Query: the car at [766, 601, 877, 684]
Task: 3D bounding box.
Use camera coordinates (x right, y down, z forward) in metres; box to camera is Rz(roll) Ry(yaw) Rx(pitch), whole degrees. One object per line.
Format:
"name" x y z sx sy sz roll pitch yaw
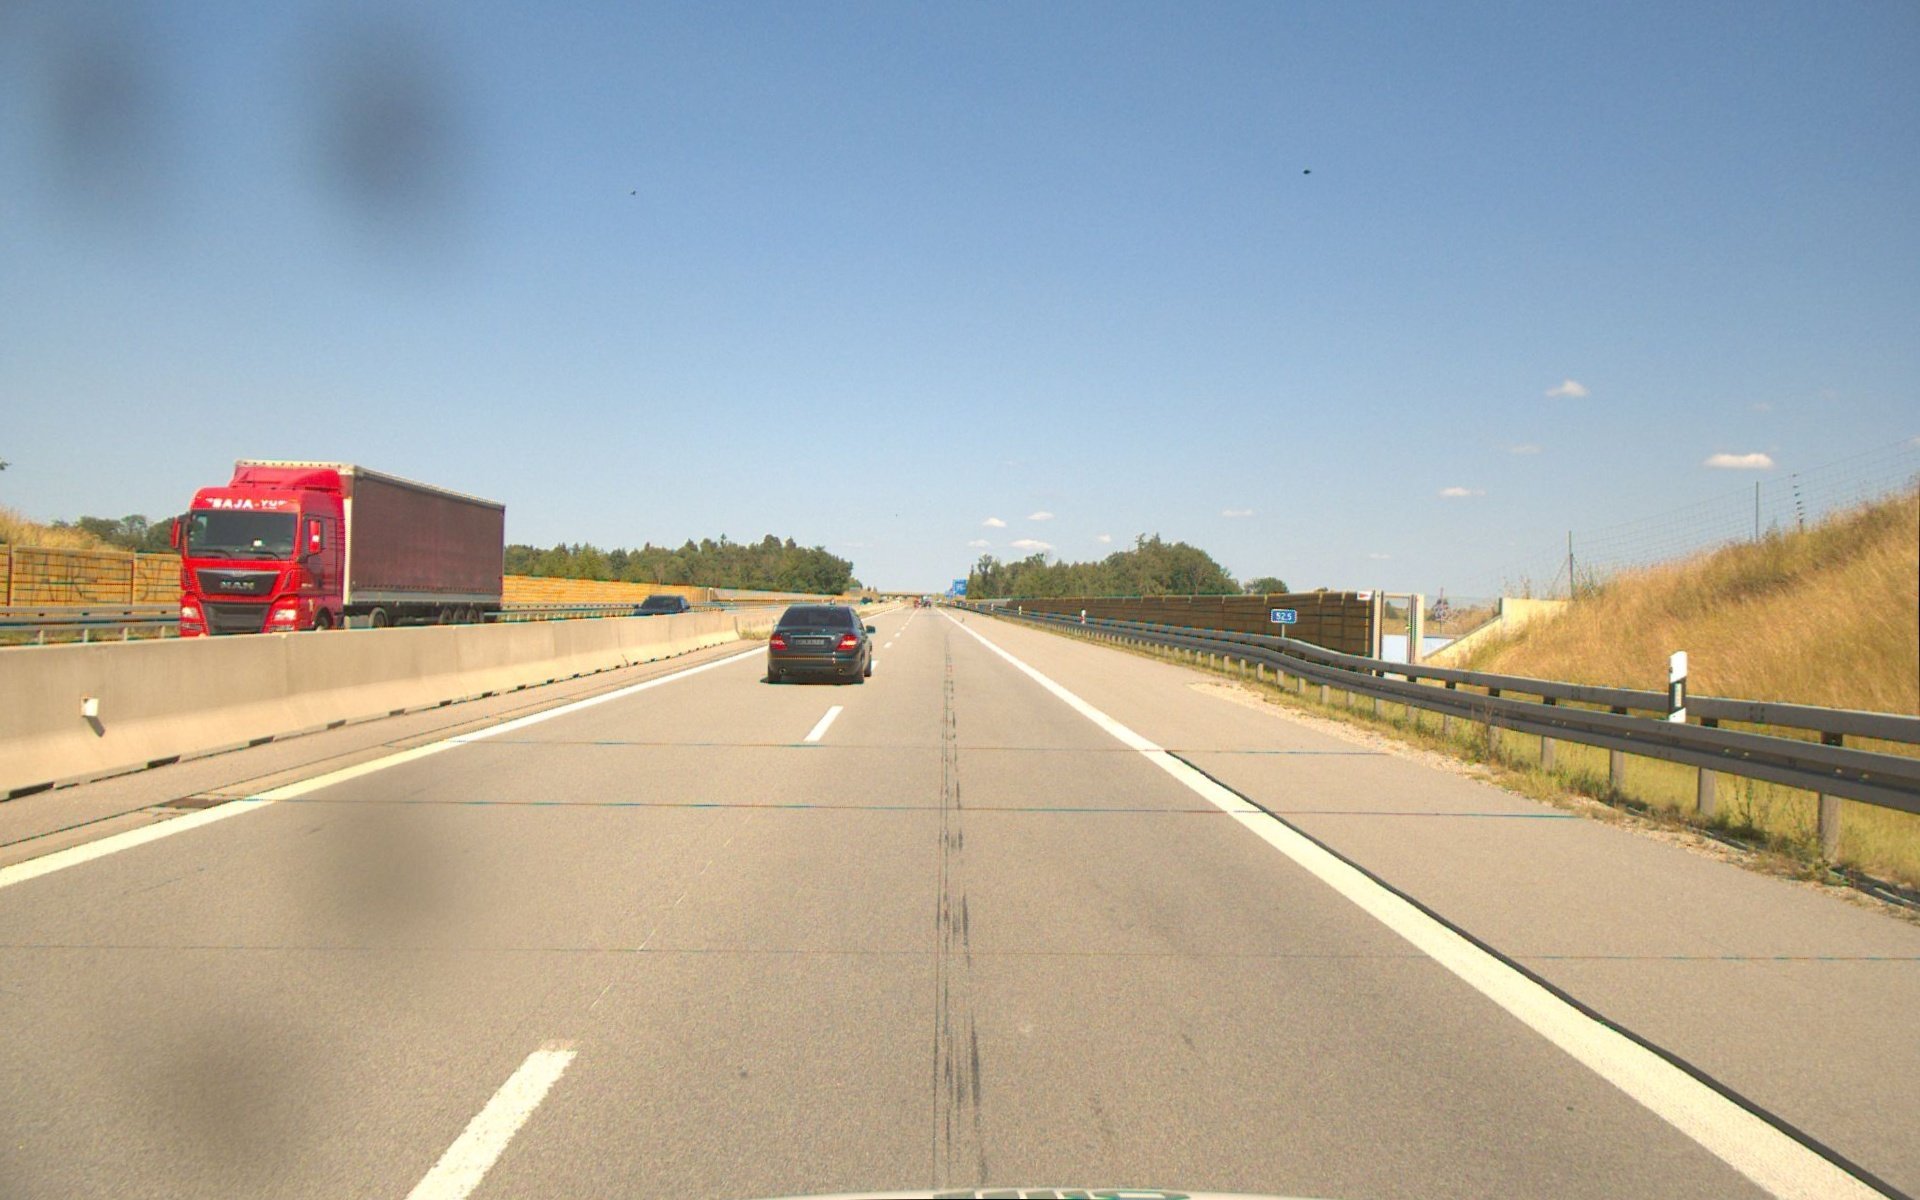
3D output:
"car" -2.491 0.731 30.516 1.754 1.398 3.916 1 0 -1

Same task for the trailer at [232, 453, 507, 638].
"trailer" -14.605 -1.149 42.528 2.585 3.943 13.729 1 0 -2

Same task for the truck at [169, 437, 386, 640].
"truck" -14.379 -1.213 35.260 2.583 3.991 4.893 1 0 -1
